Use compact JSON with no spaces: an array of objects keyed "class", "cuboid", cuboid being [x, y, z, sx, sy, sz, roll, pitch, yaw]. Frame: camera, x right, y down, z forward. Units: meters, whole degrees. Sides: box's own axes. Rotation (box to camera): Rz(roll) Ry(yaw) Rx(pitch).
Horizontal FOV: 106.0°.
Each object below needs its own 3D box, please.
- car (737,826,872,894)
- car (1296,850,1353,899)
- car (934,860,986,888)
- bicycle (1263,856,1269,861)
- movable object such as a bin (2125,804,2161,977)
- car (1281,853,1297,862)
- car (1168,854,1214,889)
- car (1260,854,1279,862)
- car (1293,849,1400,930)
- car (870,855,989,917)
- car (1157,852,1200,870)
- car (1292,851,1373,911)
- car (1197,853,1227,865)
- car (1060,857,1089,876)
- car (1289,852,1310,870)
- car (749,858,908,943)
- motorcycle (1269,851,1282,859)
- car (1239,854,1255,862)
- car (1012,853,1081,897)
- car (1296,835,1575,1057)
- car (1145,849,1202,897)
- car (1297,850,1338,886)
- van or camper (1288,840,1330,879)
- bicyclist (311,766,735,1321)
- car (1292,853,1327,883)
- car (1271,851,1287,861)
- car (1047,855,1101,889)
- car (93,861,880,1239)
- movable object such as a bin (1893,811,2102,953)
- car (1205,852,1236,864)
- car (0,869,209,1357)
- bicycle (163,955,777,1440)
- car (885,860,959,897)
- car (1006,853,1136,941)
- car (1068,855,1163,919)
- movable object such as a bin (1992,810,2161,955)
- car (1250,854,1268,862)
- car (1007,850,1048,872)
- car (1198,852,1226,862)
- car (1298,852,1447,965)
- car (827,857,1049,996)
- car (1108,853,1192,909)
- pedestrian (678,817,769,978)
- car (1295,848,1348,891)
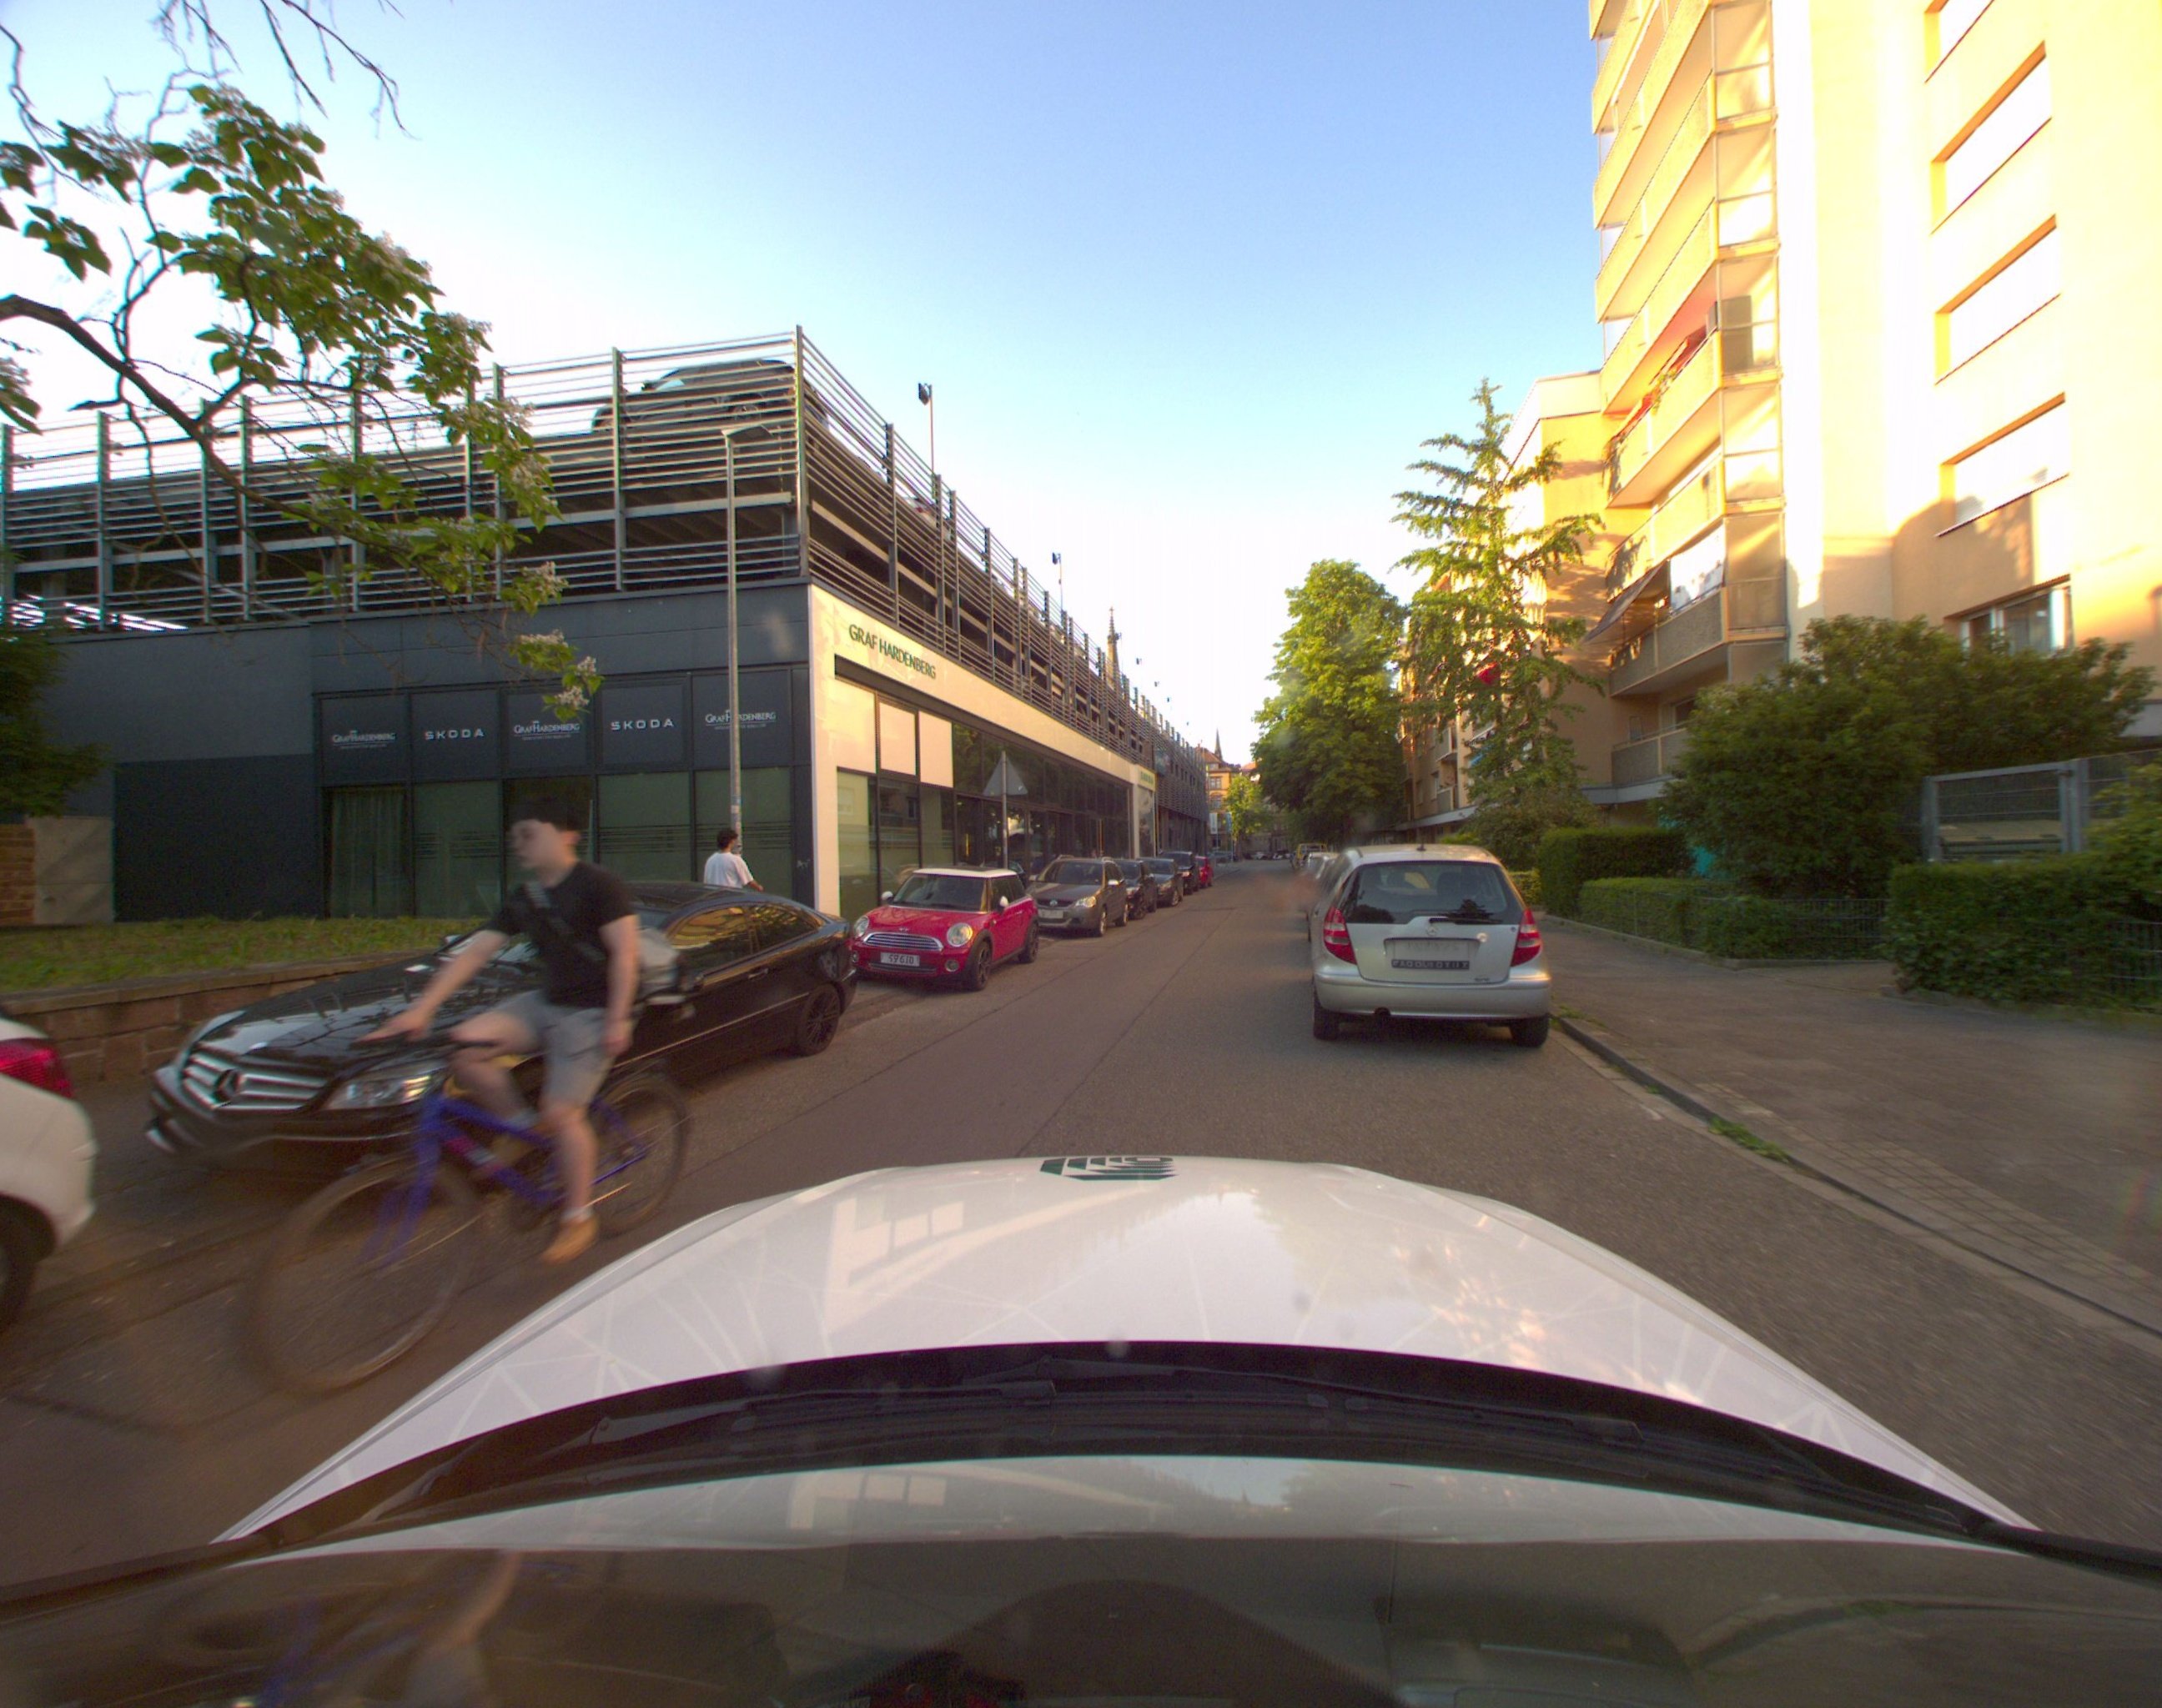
[{"class":"car","cuboid":[-7.389,0.147,22.173,1.685,1.658,3.752,-2,0,14]},{"class":"car","cuboid":[8.173,0.641,27.545,1.598,1.461,4.069,-2,0,14]},{"class":"car","cuboid":[-6.042,0.967,41.011,1.409,1.255,3.227,-2,1,14]},{"class":"bicycle","cuboid":[30.682,0.700,134.816,0.420,0.822,1.471,-2,1,36]},{"class":"movable object such as a bin","cuboid":[9.624,0.306,6.302,1.116,1.470,1.587,-2,0,10]},{"class":"car","cuboid":[36.849,0.600,144.154,1.675,1.525,2.757,-1,0,-10]},{"class":"car","cuboid":[5.230,0.781,38.356,1.685,1.506,3.805,-2,0,14]},{"class":"car","cuboid":[32.397,0.683,140.137,1.655,1.431,3.977,-1,1,-10]},{"class":"car","cuboid":[5.338,0.649,16.773,1.796,1.416,3.911,-2,0,14]},{"class":"car","cuboid":[-4.155,0.848,23.083,1.685,1.514,4.208,-2,0,14]},{"class":"car","cuboid":[9.575,0.726,79.579,3.960,1.586,1.866,-2,-2,12]},{"class":"car","cuboid":[6.794,0.663,22.408,1.797,1.416,4.643,-2,0,14]},{"class":"car","cuboid":[18.101,0.646,112.432,4.102,1.618,1.920,0,1,12]},{"class":"car","cuboid":[-0.487,0.923,60.882,1.347,1.255,3.227,-2,1,14]},{"class":"car","cuboid":[19.418,0.603,72.447,1.747,1.442,4.021,-2,1,14]},{"class":"car","cuboid":[-5.538,0.963,18.391,1.581,1.650,3.891,-2,0,14]},{"class":"motorcycle","cuboid":[32.593,0.130,136.553,1.923,1.340,0.578,-2,0,3]},{"class":"car","cuboid":[30.509,0.727,149.715,1.655,1.431,3.883,-1,1,-10]},{"class":"car","cuboid":[-1.365,0.849,34.320,1.685,1.658,4.426,-2,0,14]},{"class":"car","cuboid":[3.070,0.663,7.885,1.797,1.575,3.899,-2,0,14]},{"class":"car","cuboid":[3.808,0.700,32.903,1.685,1.756,4.420,-2,0,14]},{"class":"car","cuboid":[10.680,0.614,36.928,1.598,1.510,3.491,-2,0,14]},{"class":"van or camper","cuboid":[13.120,0.260,47.071,2.050,2.096,5.109,-2,1,13]},{"class":"bicyclist","cuboid":[-2.101,0.624,3.228,0.853,1.808,1.019,-2,0,11]},{"class":"car","cuboid":[11.732,0.670,41.907,1.594,1.381,4.017,-2,1,15]},{"class":"car","cuboid":[35.993,0.391,147.933,1.675,1.782,3.004,-1,0,-10]},{"class":"car","cuboid":[-0.285,0.848,39.115,1.685,1.473,3.796,-2,0,14]},{"class":"car","cuboid":[-3.254,0.849,5.761,1.650,1.415,4.429,4,1,13]},{"class":"movable object such as a bin","cuboid":[9.876,0.278,8.859,0.871,1.415,1.304,-2,0,10]},{"class":"car","cuboid":[22.404,0.646,130.678,4.802,1.732,1.925,-1,1,7]},{"class":"car","cuboid":[-4.459,0.850,1.312,1.652,1.514,3.894,1,1,8]},{"class":"bicycle","cuboid":[-2.074,1.061,3.186,0.754,1.097,1.869,-3,-1,10]},{"class":"car","cuboid":[-6.957,1.036,36.073,1.685,1.434,3.935,-2,0,14]},{"class":"car","cuboid":[-0.079,0.794,17.139,1.650,1.497,3.900,4,1,15]},{"class":"car","cuboid":[1.020,0.789,21.582,1.717,1.402,4.021,4,1,13]},{"class":"movable object such as a bin","cuboid":[10.927,0.259,8.602,1.176,1.415,1.304,-2,0,10]},{"class":"car","cuboid":[31.645,0.729,144.924,1.654,1.431,4.155,-1,1,-8]},{"class":"car","cuboid":[-3.282,0.428,50.590,1.409,1.255,3.540,-2,1,14]},{"class":"car","cuboid":[19.199,0.422,119.594,4.020,1.475,1.926,0,1,10]},{"class":"car","cuboid":[4.291,0.717,12.534,1.704,1.419,4.043,-2,0,14]},{"class":"car","cuboid":[-1.736,0.827,11.262,1.651,1.410,3.939,3,1,11]},{"class":"car","cuboid":[2.344,0.817,26.581,1.922,1.596,4.223,-2,1,16]},{"class":"pedestrian","cuboid":[-4.307,0.510,9.837,0.715,1.878,0.623,-2,0,15]},{"class":"car","cuboid":[9.543,0.575,32.606,1.779,1.562,4.209,-2,0,14]}]
